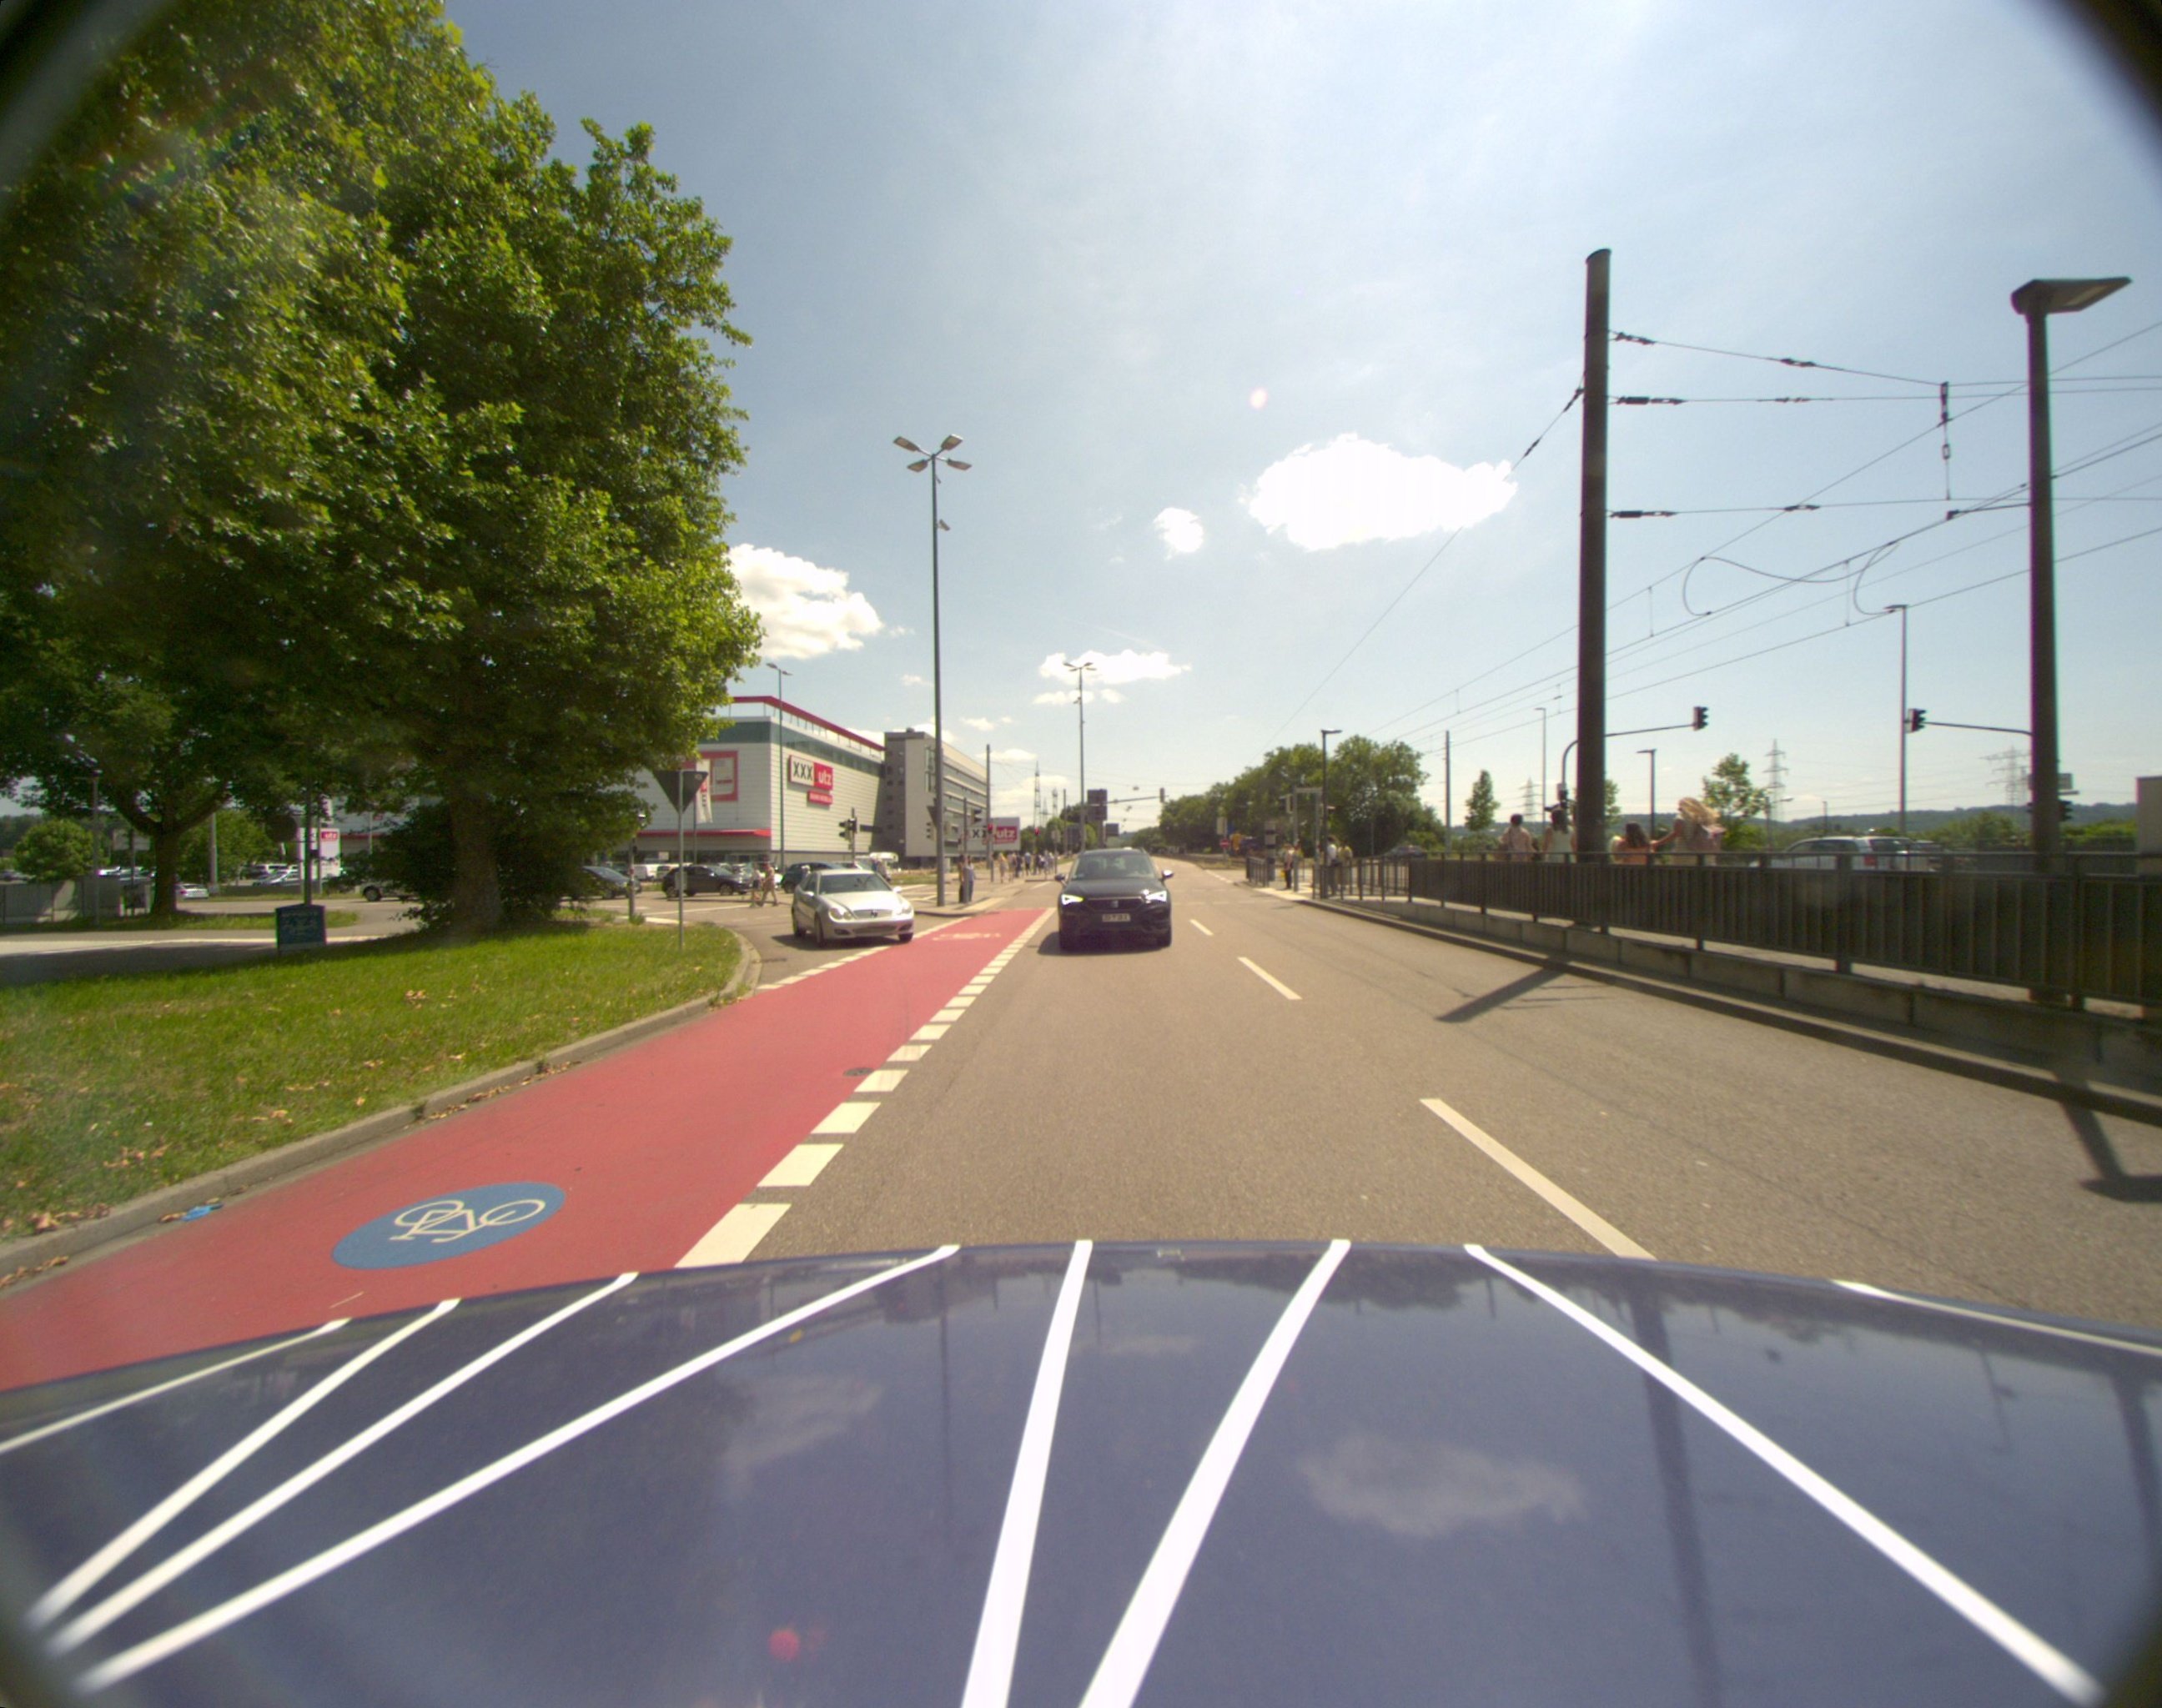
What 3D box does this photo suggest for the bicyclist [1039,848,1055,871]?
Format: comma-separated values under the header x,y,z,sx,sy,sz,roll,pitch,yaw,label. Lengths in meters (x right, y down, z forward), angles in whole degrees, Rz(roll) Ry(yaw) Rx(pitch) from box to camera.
x,y,z,sx,sy,sz,roll,pitch,yaw,label
-2.487,0.392,56.165,0.818,1.691,0.797,-3,2,-40,bicyclist

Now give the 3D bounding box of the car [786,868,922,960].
x,y,z,sx,sy,sz,roll,pitch,yaw,label
-4.686,1.066,15.233,1.734,1.410,4.312,-3,1,-28,car

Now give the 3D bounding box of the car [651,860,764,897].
x,y,z,sx,sy,sz,roll,pitch,yaw,label
-17.718,1.164,36.160,4.410,1.434,1.854,-4,-2,2,car

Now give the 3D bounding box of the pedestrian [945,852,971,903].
x,y,z,sx,sy,sz,roll,pitch,yaw,label
-4.159,0.784,25.682,0.725,1.673,0.625,-2,1,-1,pedestrian

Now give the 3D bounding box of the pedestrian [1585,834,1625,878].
x,y,z,sx,sy,sz,roll,pitch,yaw,label
19.664,0.069,28.523,0.959,1.601,0.764,-1,1,0,pedestrian

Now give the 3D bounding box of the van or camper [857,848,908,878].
x,y,z,sx,sy,sz,roll,pitch,yaw,label
-21.553,0.881,82.934,2.714,2.929,7.615,-2,1,6,van or camper

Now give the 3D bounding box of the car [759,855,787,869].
x,y,z,sx,sy,sz,roll,pitch,yaw,label
-45.466,1.148,112.248,1.998,1.911,4.520,-2,1,5,car

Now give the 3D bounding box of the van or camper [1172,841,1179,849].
x,y,z,sx,sy,sz,roll,pitch,yaw,label
30.391,-2.930,244.128,1.997,2.572,5.847,0,1,9,van or camper

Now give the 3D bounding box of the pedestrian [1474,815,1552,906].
x,y,z,sx,sy,sz,roll,pitch,yaw,label
7.925,0.117,13.979,0.892,1.595,0.924,-1,1,1,pedestrian

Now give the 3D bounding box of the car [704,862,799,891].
x,y,z,sx,sy,sz,roll,pitch,yaw,label
-17.147,1.159,39.625,4.227,1.390,1.805,-1,1,10,car

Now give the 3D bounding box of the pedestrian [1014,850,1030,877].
x,y,z,sx,sy,sz,roll,pitch,yaw,label
-3.822,0.618,49.644,0.783,1.663,0.947,-2,1,9,pedestrian

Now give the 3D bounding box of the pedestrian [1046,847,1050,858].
x,y,z,sx,sy,sz,roll,pitch,yaw,label
-5.481,-0.310,125.271,0.518,1.783,0.634,-1,1,3,pedestrian

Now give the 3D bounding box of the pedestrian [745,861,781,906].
x,y,z,sx,sy,sz,roll,pitch,yaw,label
-11.850,1.093,28.319,0.796,1.649,0.853,-1,1,19,pedestrian

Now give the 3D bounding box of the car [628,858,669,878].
x,y,z,sx,sy,sz,roll,pitch,yaw,label
-48.489,1.596,85.327,1.998,2.002,4.000,-2,1,5,car

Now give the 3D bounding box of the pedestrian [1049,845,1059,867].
x,y,z,sx,sy,sz,roll,pitch,yaw,label
-1.867,0.110,52.239,0.591,1.467,0.805,-3,1,-7,pedestrian

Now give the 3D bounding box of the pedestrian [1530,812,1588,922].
x,y,z,sx,sy,sz,roll,pitch,yaw,label
7.061,0.186,11.236,0.498,1.568,0.557,-1,1,1,pedestrian

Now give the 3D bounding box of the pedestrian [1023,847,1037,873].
x,y,z,sx,sy,sz,roll,pitch,yaw,label
-3.720,0.429,55.372,0.805,1.854,0.798,-2,1,7,pedestrian

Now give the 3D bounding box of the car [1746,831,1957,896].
x,y,z,sx,sy,sz,roll,pitch,yaw,label
21.453,0.216,21.427,1.998,1.619,4.000,-2,1,3,car

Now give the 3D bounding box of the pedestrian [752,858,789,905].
x,y,z,sx,sy,sz,roll,pitch,yaw,label
-11.253,0.982,27.556,0.796,1.649,0.853,-1,1,19,pedestrian

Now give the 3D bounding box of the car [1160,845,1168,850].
x,y,z,sx,sy,sz,roll,pitch,yaw,label
27.275,-2.257,250.211,1.999,1.627,4.264,1,1,-2,car

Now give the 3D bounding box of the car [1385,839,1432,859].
x,y,z,sx,sy,sz,roll,pitch,yaw,label
28.237,-0.431,65.702,1.999,1.620,4.307,-1,0,-3,car

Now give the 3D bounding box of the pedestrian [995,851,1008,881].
x,y,z,sx,sy,sz,roll,pitch,yaw,label
-4.214,0.641,40.230,0.528,1.571,0.612,-2,1,6,pedestrian

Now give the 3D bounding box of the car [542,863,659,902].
x,y,z,sx,sy,sz,roll,pitch,yaw,label
-22.960,1.328,36.393,4.409,1.576,1.863,-2,3,6,car

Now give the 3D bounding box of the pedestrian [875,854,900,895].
x,y,z,sx,sy,sz,roll,pitch,yaw,label
-7.957,0.837,31.310,0.607,1.628,0.864,-1,2,13,pedestrian

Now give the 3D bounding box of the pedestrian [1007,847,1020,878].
x,y,z,sx,sy,sz,roll,pitch,yaw,label
-3.603,0.452,40.440,0.528,1.656,0.640,-2,1,6,pedestrian

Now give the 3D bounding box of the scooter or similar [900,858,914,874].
x,y,z,sx,sy,sz,roll,pitch,yaw,label
-14.796,1.034,64.701,0.479,1.283,1.281,-2,1,21,scooter or similar

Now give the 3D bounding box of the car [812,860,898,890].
x,y,z,sx,sy,sz,roll,pitch,yaw,label
-11.703,1.080,39.483,3.832,1.389,1.804,-1,1,3,car

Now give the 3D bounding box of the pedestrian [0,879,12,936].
x,y,z,sx,sy,sz,roll,pitch,yaw,label
-30.325,1.484,20.864,0.920,1.577,0.633,-1,1,-3,pedestrian

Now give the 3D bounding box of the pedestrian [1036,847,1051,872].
x,y,z,sx,sy,sz,roll,pitch,yaw,label
-2.735,0.394,55.139,0.807,1.749,0.796,-3,1,-25,pedestrian

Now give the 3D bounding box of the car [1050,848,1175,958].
x,y,z,sx,sy,sz,roll,pitch,yaw,label
0.578,0.762,13.394,1.819,1.583,4.001,-2,-1,3,car

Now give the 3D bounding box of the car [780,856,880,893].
x,y,z,sx,sy,sz,roll,pitch,yaw,label
-11.941,0.963,36.281,3.995,1.547,2.000,-2,1,6,car

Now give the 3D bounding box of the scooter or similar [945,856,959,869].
x,y,z,sx,sy,sz,roll,pitch,yaw,label
-11.878,0.781,70.140,0.479,1.120,1.281,-1,4,31,scooter or similar

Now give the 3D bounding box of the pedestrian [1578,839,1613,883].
x,y,z,sx,sy,sz,roll,pitch,yaw,label
18.652,0.248,27.559,0.763,1.539,0.764,-1,1,0,pedestrian

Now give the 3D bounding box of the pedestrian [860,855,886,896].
x,y,z,sx,sy,sz,roll,pitch,yaw,label
-8.579,0.861,31.386,0.603,1.628,0.864,-1,2,13,pedestrian

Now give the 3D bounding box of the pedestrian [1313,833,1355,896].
x,y,z,sx,sy,sz,roll,pitch,yaw,label
7.408,0.295,22.283,0.865,1.792,0.883,-2,1,-2,pedestrian

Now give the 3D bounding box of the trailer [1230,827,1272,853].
x,y,z,sx,sy,sz,roll,pitch,yaw,label
26.825,-2.116,120.784,3.123,3.848,15.480,-1,1,0,trailer

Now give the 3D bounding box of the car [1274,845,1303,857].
x,y,z,sx,sy,sz,roll,pitch,yaw,label
26.456,-0.438,97.004,2.000,1.455,4.276,-1,0,-6,car

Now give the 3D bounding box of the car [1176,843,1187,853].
x,y,z,sx,sy,sz,roll,pitch,yaw,label
24.414,-1.422,184.008,1.998,1.825,4.439,4,-6,1,car

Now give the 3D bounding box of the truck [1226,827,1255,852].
x,y,z,sx,sy,sz,roll,pitch,yaw,label
26.867,-2.347,128.373,3.133,4.015,7.474,-2,1,0,truck

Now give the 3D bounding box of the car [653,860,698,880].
x,y,z,sx,sy,sz,roll,pitch,yaw,label
-45.795,1.769,85.846,1.998,2.002,4.966,-2,1,5,car

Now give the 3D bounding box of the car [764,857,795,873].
x,y,z,sx,sy,sz,roll,pitch,yaw,label
-40.004,1.462,100.963,1.998,1.884,4.520,-2,1,4,car

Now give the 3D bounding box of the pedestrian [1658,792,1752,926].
x,y,z,sx,sy,sz,roll,pitch,yaw,label
8.139,0.055,9.937,0.615,1.672,0.720,-2,1,0,pedestrian

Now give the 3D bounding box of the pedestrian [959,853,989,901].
x,y,z,sx,sy,sz,roll,pitch,yaw,label
-3.734,0.793,26.477,0.896,1.597,0.767,-2,1,-2,pedestrian

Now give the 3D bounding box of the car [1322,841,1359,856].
x,y,z,sx,sy,sz,roll,pitch,yaw,label
26.863,-0.595,78.774,1.999,1.436,4.347,-1,0,-5,car

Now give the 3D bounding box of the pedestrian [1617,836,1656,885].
x,y,z,sx,sy,sz,roll,pitch,yaw,label
19.103,0.215,26.141,0.763,1.662,0.764,-1,1,0,pedestrian

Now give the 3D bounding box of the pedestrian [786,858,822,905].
x,y,z,sx,sy,sz,roll,pitch,yaw,label
-10.084,0.986,27.687,0.795,1.649,0.853,-1,1,32,pedestrian

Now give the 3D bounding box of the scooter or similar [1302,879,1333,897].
x,y,z,sx,sy,sz,roll,pitch,yaw,label
6.889,0.992,22.142,0.728,0.503,0.457,-1,1,-1,scooter or similar

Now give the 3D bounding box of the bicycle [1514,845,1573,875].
x,y,z,sx,sy,sz,roll,pitch,yaw,label
18.179,0.219,29.878,1.978,1.094,0.763,-2,1,-13,bicycle

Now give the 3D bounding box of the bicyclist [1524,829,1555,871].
x,y,z,sx,sy,sz,roll,pitch,yaw,label
17.994,-0.163,29.825,0.666,1.606,0.732,-2,1,-14,bicyclist

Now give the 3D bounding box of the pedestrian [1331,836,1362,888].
x,y,z,sx,sy,sz,roll,pitch,yaw,label
8.707,0.248,24.937,0.734,1.663,0.678,-2,1,-1,pedestrian

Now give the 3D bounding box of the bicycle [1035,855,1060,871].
x,y,z,sx,sy,sz,roll,pitch,yaw,label
-2.507,0.674,56.129,0.833,1.155,1.874,-2,0,-41,bicycle

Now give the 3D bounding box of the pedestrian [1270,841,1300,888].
x,y,z,sx,sy,sz,roll,pitch,yaw,label
7.083,0.350,26.369,0.787,1.563,0.764,-2,1,-1,pedestrian

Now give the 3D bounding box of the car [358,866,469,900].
x,y,z,sx,sy,sz,roll,pitch,yaw,label
-34.952,1.502,39.869,4.077,1.630,2.000,-1,1,4,car

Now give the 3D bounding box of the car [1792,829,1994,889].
x,y,z,sx,sy,sz,roll,pitch,yaw,label
24.420,0.121,23.107,1.998,1.619,4.001,-1,0,3,car

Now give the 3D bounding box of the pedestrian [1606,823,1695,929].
x,y,z,sx,sy,sz,roll,pitch,yaw,label
7.514,0.275,10.047,0.615,1.337,0.720,-2,1,0,pedestrian
